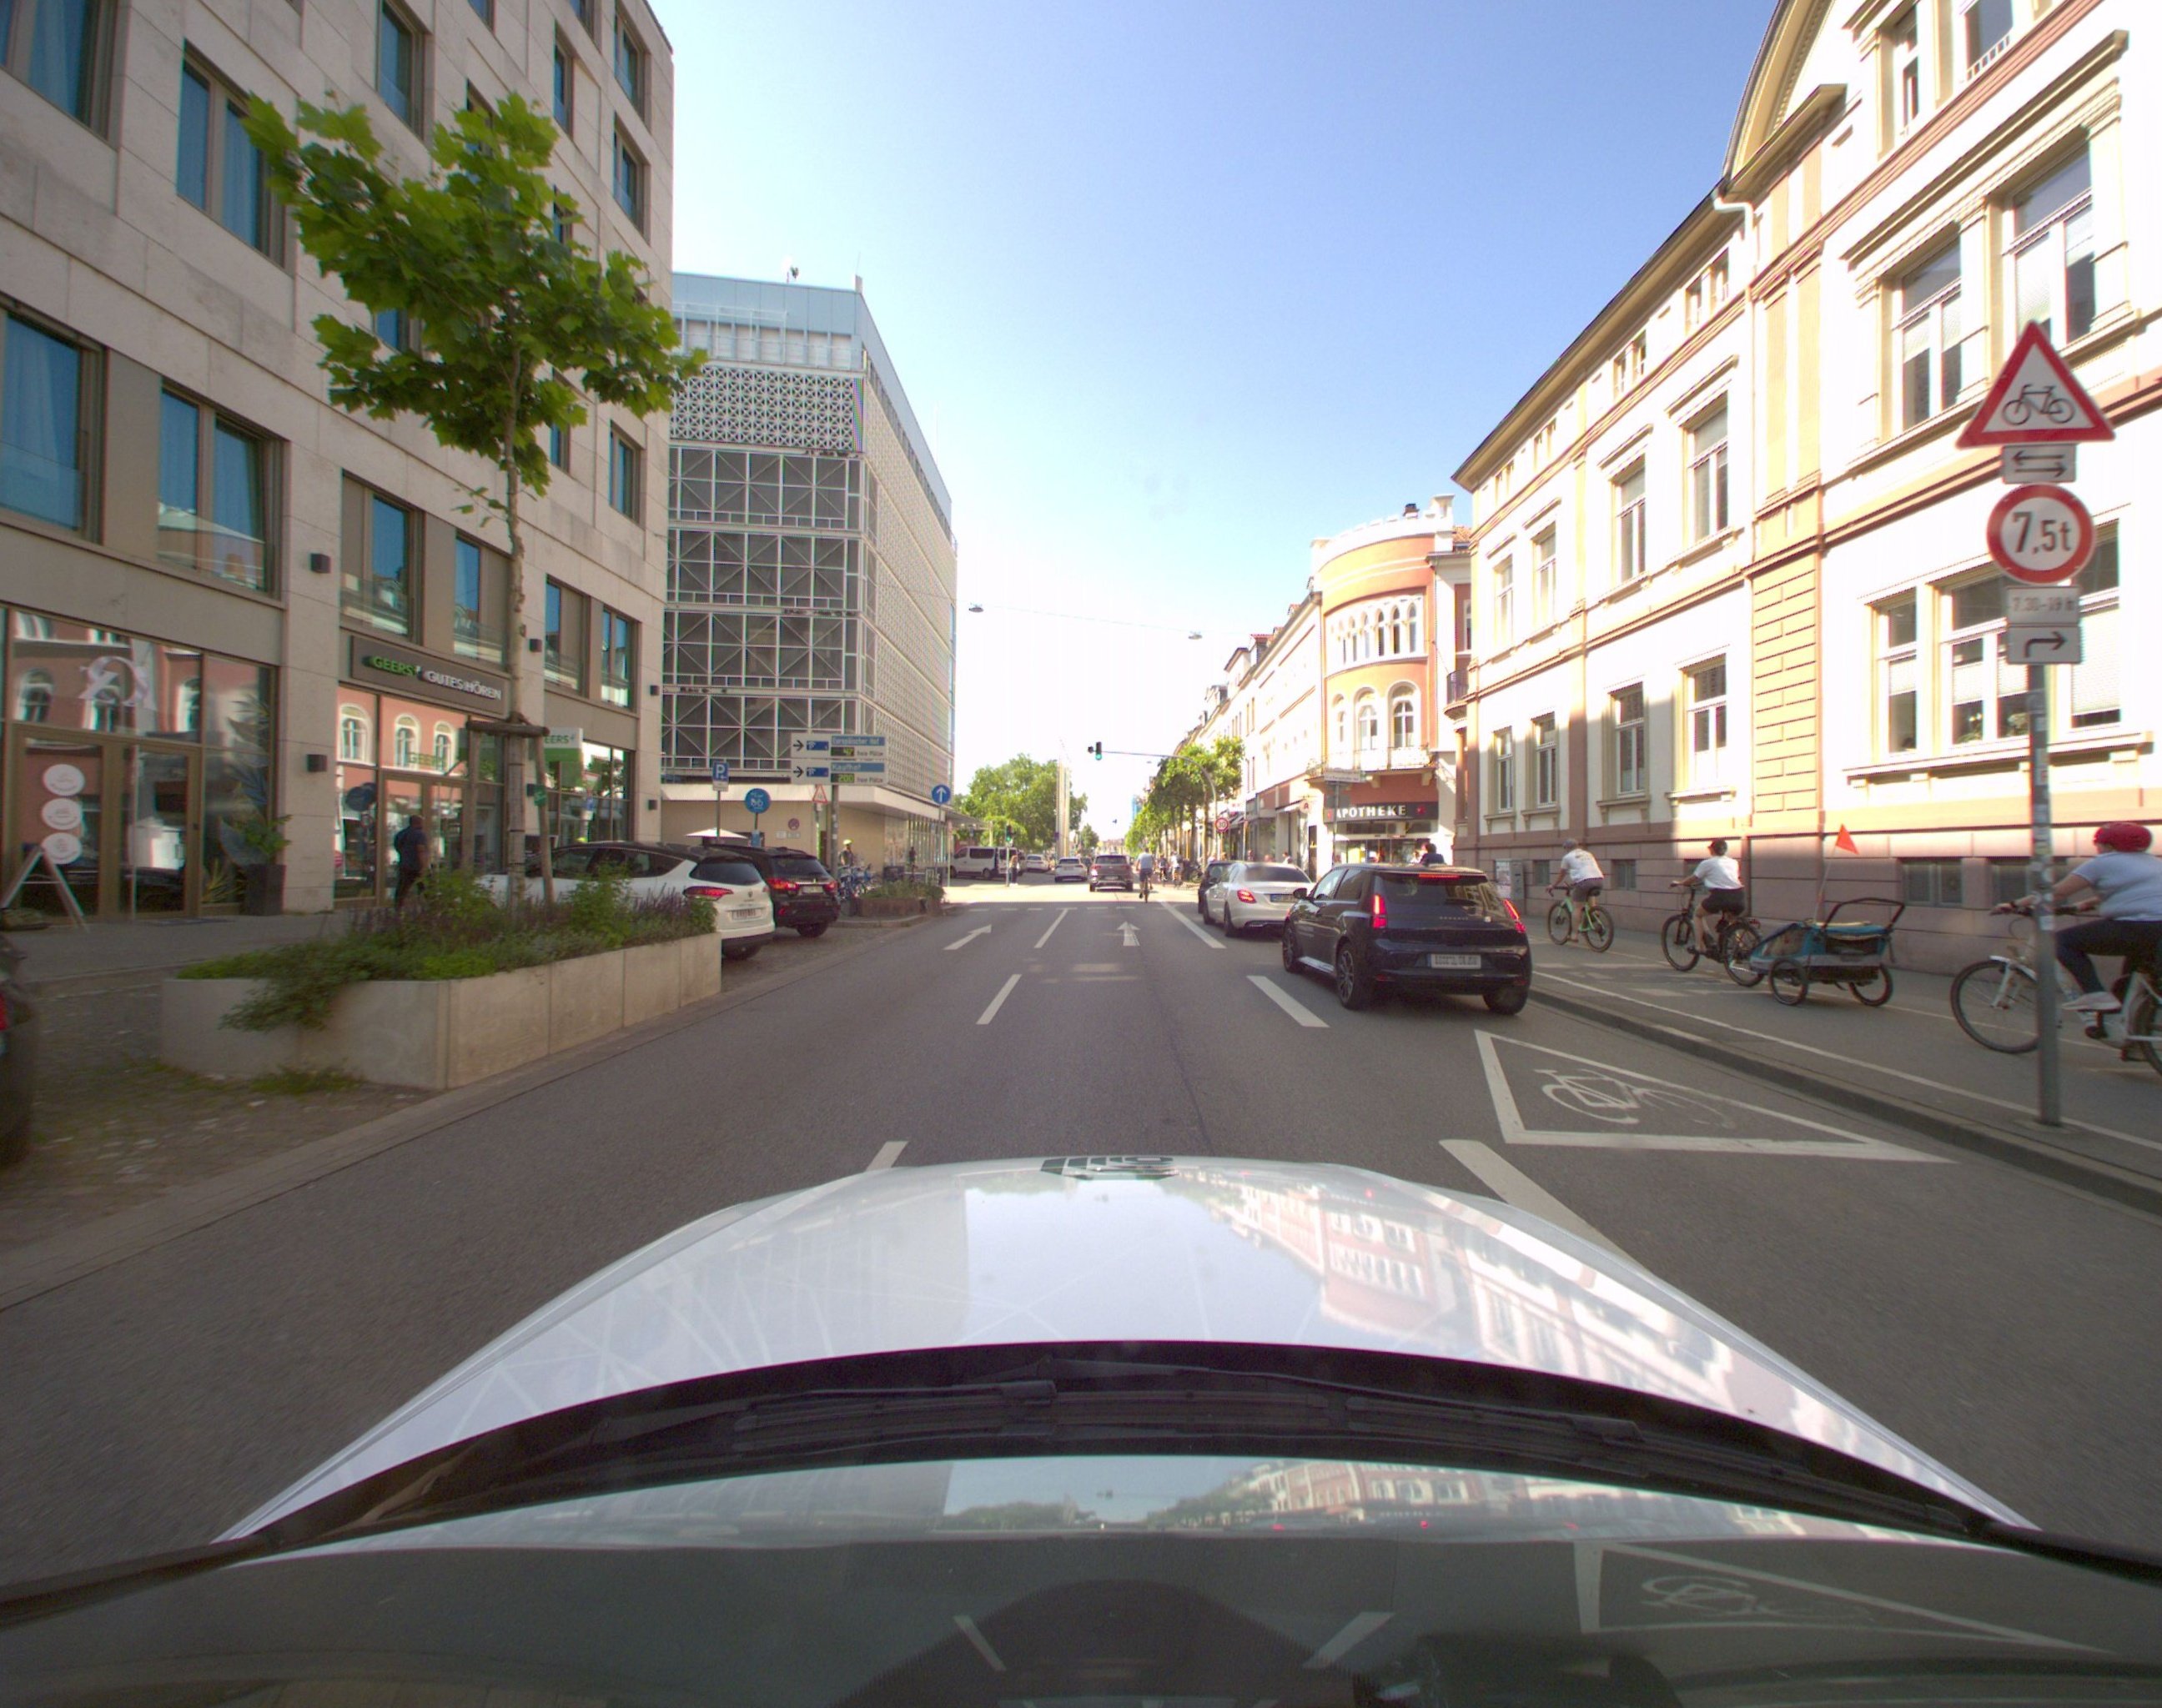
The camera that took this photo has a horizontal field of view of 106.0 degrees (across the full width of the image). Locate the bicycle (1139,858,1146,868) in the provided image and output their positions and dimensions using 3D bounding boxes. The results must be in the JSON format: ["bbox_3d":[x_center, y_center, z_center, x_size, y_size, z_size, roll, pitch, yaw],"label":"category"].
[{"bbox_3d":[6.169,0.868,82.187,0.644,0.998,2.032,0,0,2],"label":"bicycle"}]

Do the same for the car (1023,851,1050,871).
[{"bbox_3d":[-3.659,0.542,67.833,1.792,1.523,4.741,1,0,2],"label":"car"}]

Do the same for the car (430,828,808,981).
[{"bbox_3d":[-6.363,0.626,11.500,4.132,1.637,2.108,4,0,10],"label":"car"}]

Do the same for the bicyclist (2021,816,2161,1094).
[{"bbox_3d":[7.016,0.621,5.350,0.680,1.717,0.845,-1,-1,2],"label":"bicyclist"}]

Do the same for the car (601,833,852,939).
[{"bbox_3d":[-6.480,0.530,14.914,3.985,1.603,1.969,2,-1,24],"label":"car"}]

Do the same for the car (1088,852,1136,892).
[{"bbox_3d":[1.243,0.705,34.105,1.840,1.559,3.999,-1,0,0],"label":"car"}]

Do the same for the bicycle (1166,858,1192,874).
[{"bbox_3d":[7.048,0.880,58.750,1.833,1.093,0.565,2,-1,2],"label":"bicycle"}]

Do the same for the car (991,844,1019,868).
[{"bbox_3d":[-6.636,0.190,71.387,1.825,2.013,4.688,0,0,2],"label":"car"}]

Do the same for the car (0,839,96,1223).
[{"bbox_3d":[-6.645,0.702,4.089,4.264,1.449,1.798,3,0,35],"label":"car"}]

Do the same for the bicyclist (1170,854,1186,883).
[{"bbox_3d":[4.750,0.709,39.970,0.598,1.357,0.720,2,0,-2],"label":"bicyclist"}]

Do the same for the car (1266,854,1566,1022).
[{"bbox_3d":[3.638,0.820,9.797,1.879,1.491,4.291,3,-1,1],"label":"car"}]

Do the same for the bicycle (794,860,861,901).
[{"bbox_3d":[-7.530,0.770,24.151,2.038,1.127,0.651,1,0,28],"label":"bicycle"}]

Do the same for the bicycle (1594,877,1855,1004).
[{"bbox_3d":[7.530,0.920,9.859,0.745,1.127,3.244,-2,1,3],"label":"bicycle"}]

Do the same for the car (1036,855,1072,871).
[{"bbox_3d":[-3.122,1.046,94.695,1.873,1.541,4.892,1,3,29],"label":"car"}]

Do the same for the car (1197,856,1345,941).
[{"bbox_3d":[3.711,0.792,16.846,1.945,1.425,4.887,2,0,1],"label":"car"}]

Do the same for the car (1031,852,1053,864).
[{"bbox_3d":[-6.802,0.719,141.336,1.843,1.955,4.786,0,-1,23],"label":"car"}]

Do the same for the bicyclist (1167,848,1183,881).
[{"bbox_3d":[4.332,0.482,37.389,0.628,1.481,1.198,0,0,1],"label":"bicyclist"}]

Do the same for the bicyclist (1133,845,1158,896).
[{"bbox_3d":[2.109,0.516,26.607,0.771,1.635,0.852,0,0,2],"label":"bicyclist"}]

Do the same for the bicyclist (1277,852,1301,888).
[{"bbox_3d":[8.261,0.631,32.343,0.855,1.411,0.501,0,0,2],"label":"bicyclist"}]

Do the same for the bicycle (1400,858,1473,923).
[{"bbox_3d":[7.842,0.762,18.089,0.729,1.268,2.284,1,1,3],"label":"bicycle"}]

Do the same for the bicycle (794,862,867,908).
[{"bbox_3d":[-6.841,0.817,22.174,2.039,1.127,0.565,2,1,26],"label":"bicycle"}]

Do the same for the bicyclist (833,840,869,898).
[{"bbox_3d":[-7.847,0.498,27.860,0.837,1.960,1.019,0,-1,8],"label":"bicyclist"}]

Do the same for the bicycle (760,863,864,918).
[{"bbox_3d":[-5.999,0.810,18.165,2.131,1.127,0.485,2,1,3],"label":"bicycle"}]

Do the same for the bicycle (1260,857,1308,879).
[{"bbox_3d":[8.058,0.565,32.343,1.814,0.844,0.501,0,0,2],"label":"bicycle"}]

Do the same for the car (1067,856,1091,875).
[{"bbox_3d":[-0.121,0.888,65.162,1.839,1.449,4.001,-1,0,1],"label":"car"}]

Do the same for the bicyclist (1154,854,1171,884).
[{"bbox_3d":[3.981,0.734,40.002,0.696,1.440,0.790,2,-1,-2],"label":"bicyclist"}]

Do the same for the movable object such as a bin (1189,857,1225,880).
[{"bbox_3d":[6.935,0.786,44.895,1.836,1.189,0.656,2,0,17],"label":"movable object such as a bin"}]

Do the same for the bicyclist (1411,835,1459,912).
[{"bbox_3d":[7.839,0.428,18.057,0.728,1.673,0.775,-1,-1,3],"label":"bicyclist"}]

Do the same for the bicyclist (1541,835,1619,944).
[{"bbox_3d":[7.989,0.539,13.092,0.569,1.661,1.160,-2,1,3],"label":"bicyclist"}]

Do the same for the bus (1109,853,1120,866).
[{"bbox_3d":[9.742,1.624,239.256,2.984,3.594,11.747,0,-1,2],"label":"bus"}]

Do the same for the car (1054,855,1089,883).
[{"bbox_3d":[-0.517,0.822,47.723,1.838,1.560,4.002,-1,0,2],"label":"car"}]

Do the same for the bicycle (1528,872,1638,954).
[{"bbox_3d":[8.000,0.893,13.097,0.568,1.127,2.080,-2,1,3],"label":"bicycle"}]

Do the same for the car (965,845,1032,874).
[{"bbox_3d":[-5.738,0.377,56.376,4.389,1.909,2.022,1,0,38],"label":"car"}]

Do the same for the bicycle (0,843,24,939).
[{"bbox_3d":[-12.707,0.421,8.475,0.493,1.107,2.162,2,0,2],"label":"bicycle"}]

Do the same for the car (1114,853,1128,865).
[{"bbox_3d":[5.696,0.703,116.898,1.838,1.668,4.001,2,0,1],"label":"car"}]

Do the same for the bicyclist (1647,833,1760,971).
[{"bbox_3d":[7.519,0.554,9.873,0.743,1.573,0.845,-2,2,2],"label":"bicyclist"}]

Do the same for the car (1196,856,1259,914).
[{"bbox_3d":[4.182,0.844,23.170,1.618,1.478,3.742,1,-1,11],"label":"car"}]

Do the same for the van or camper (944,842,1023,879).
[{"bbox_3d":[-5.797,0.353,48.127,4.602,2.013,2.012,2,1,41],"label":"van or camper"}]
